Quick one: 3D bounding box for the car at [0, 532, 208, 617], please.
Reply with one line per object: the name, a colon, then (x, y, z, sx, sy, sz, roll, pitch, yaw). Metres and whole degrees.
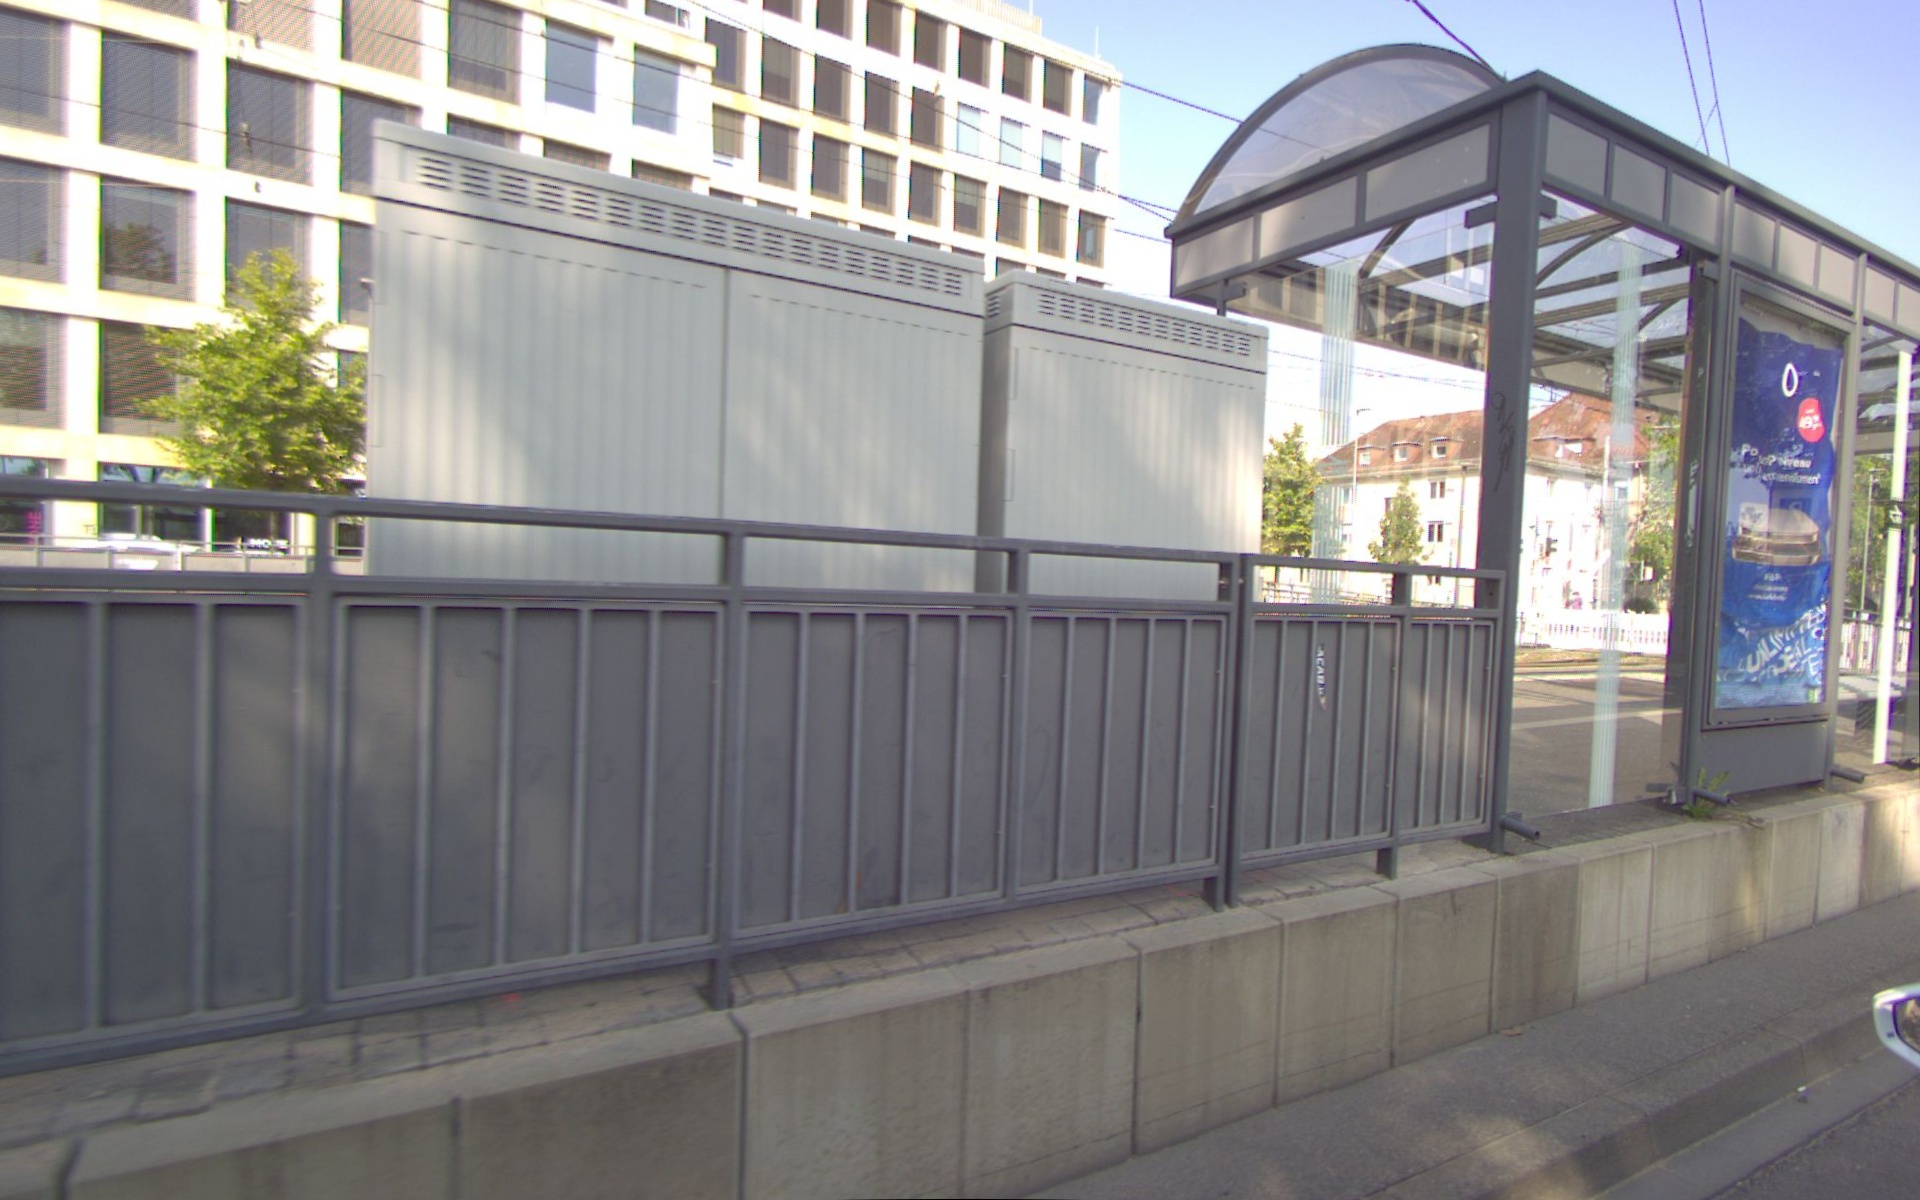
car: (-16.805, -0.464, 19.023, 3.965, 1.465, 1.700, 1, 0, -33)
